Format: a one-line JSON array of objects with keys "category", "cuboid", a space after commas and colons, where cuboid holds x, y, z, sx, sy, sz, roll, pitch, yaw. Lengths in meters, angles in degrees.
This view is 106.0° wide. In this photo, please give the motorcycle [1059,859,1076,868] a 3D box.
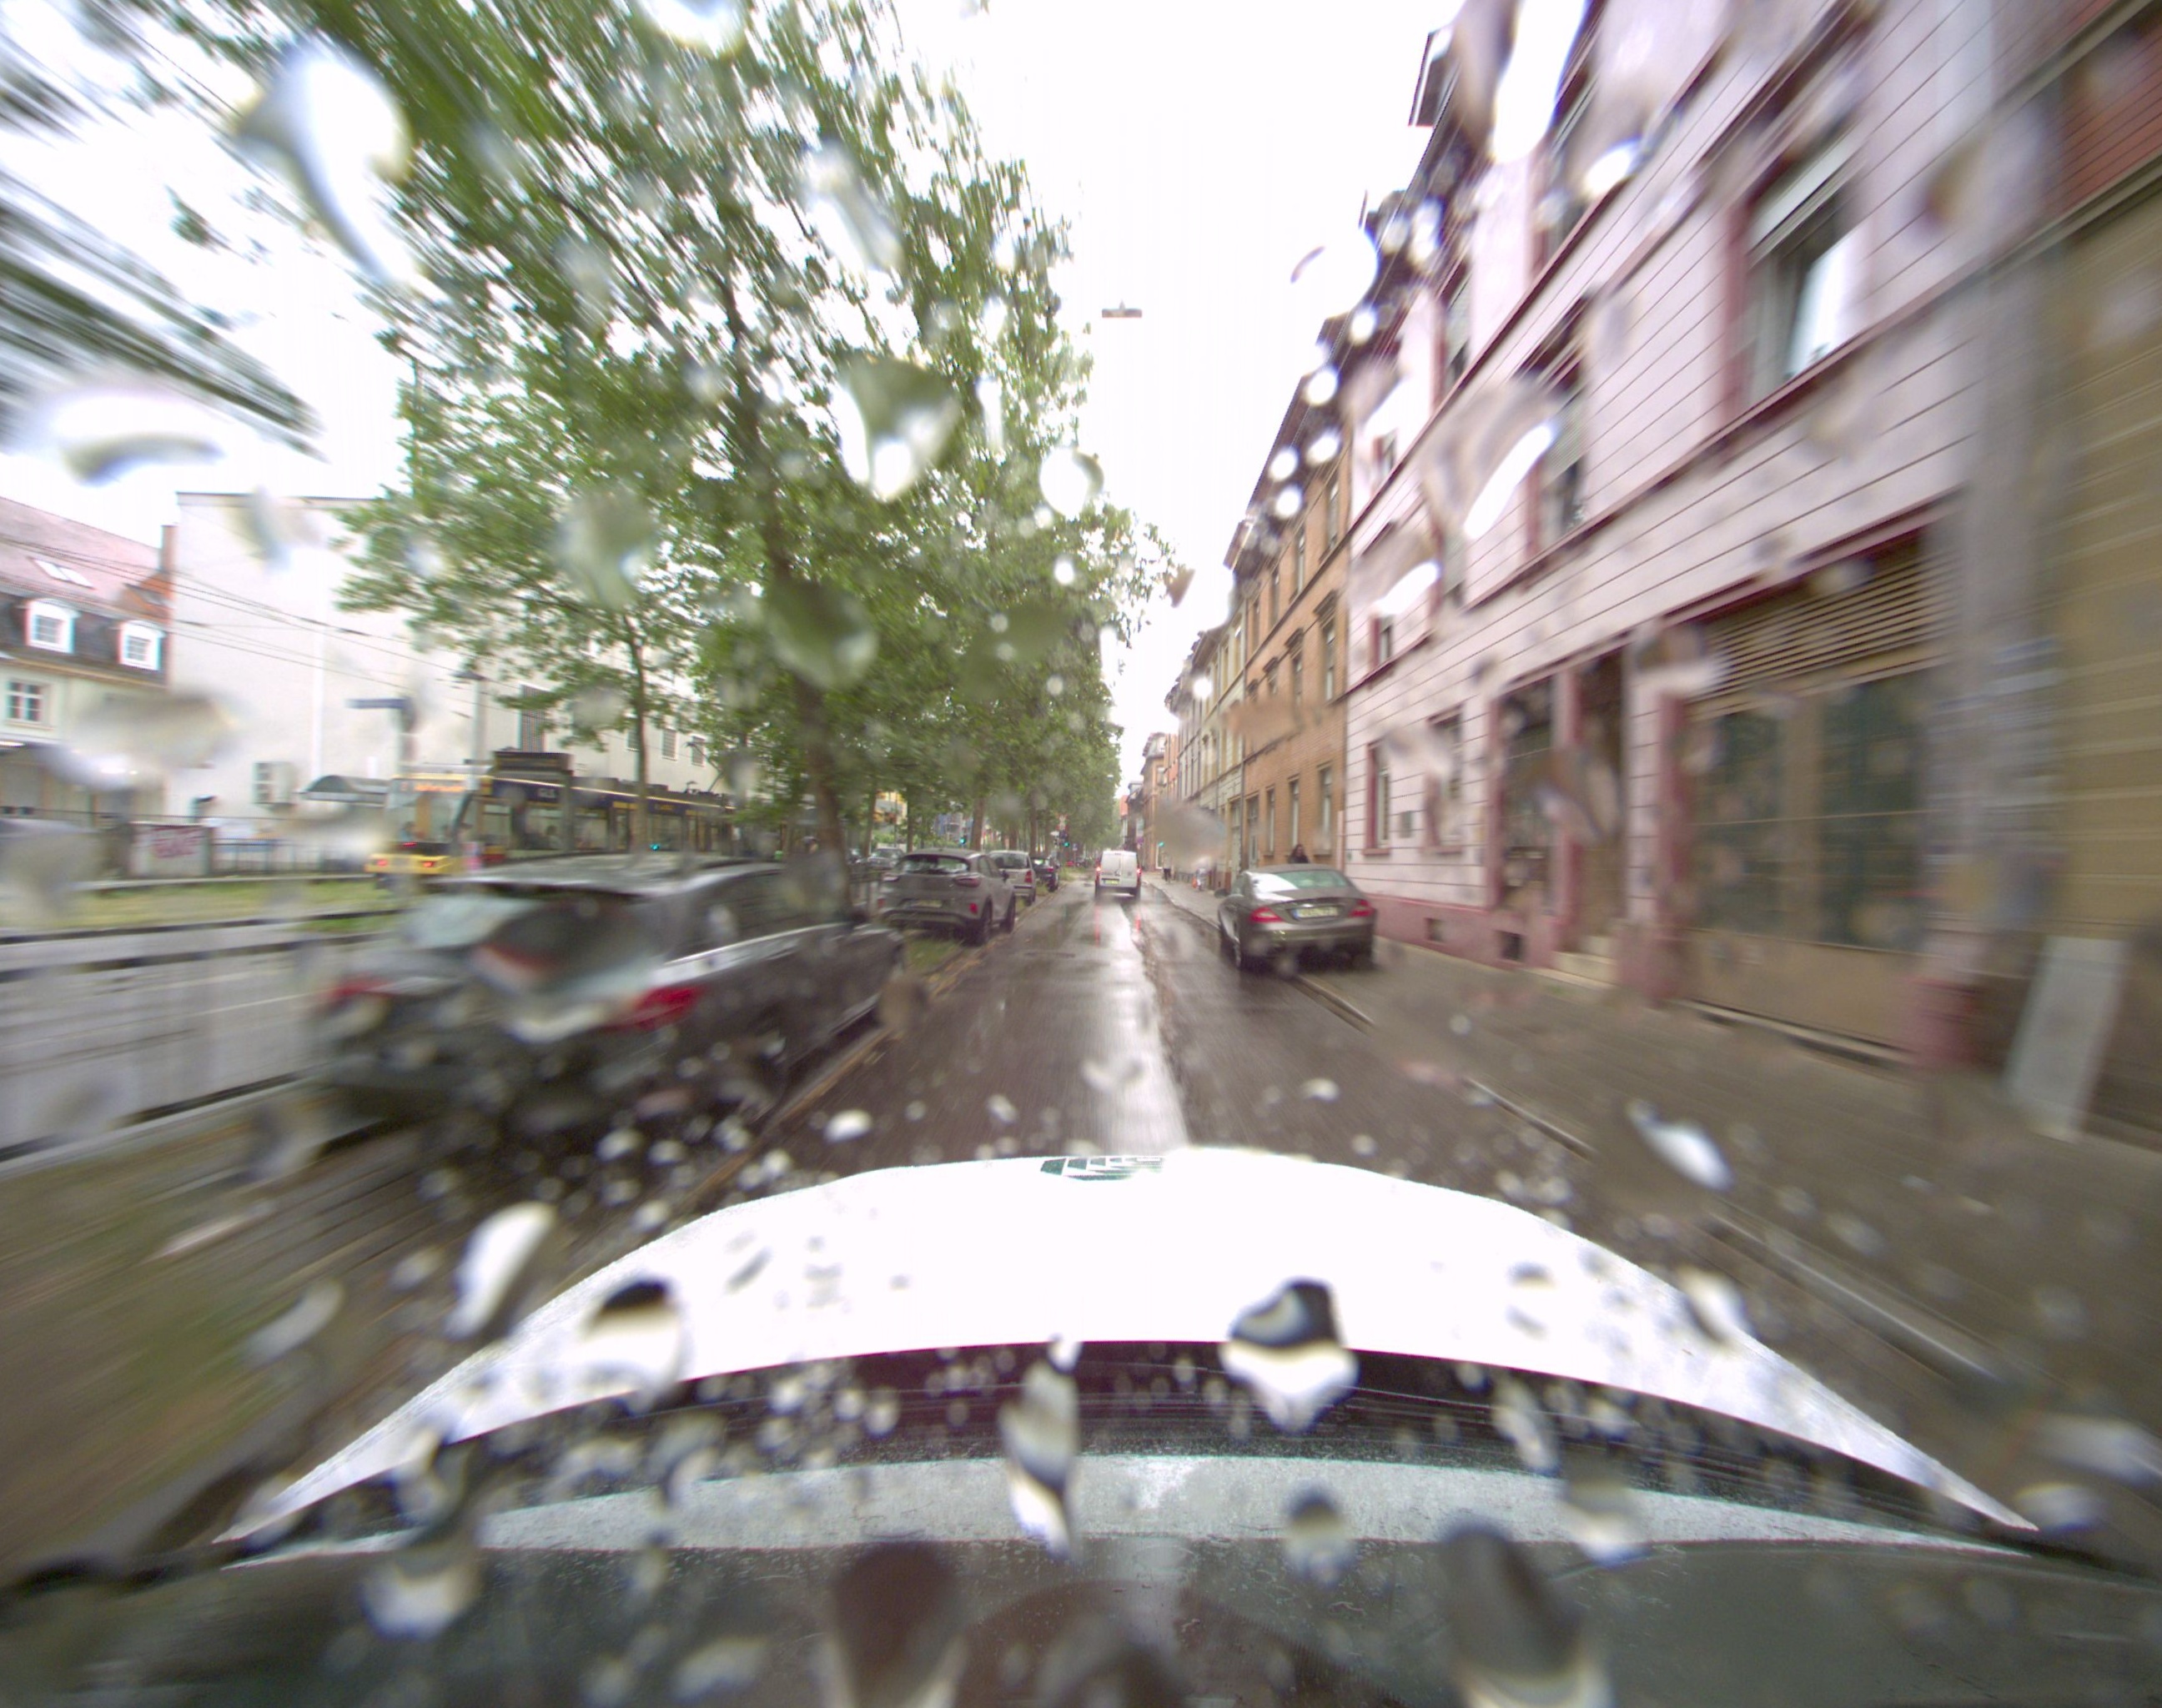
[{"category": "motorcycle", "cuboid": [-1.466, 0.974, 85.866, 1.697, 0.865, 0.578, 2, 0, 6]}]

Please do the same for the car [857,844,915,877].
[{"category": "car", "cuboid": [-10.159, 0.317, 42.783, 1.987, 1.613, 4.000, 2, 0, 1]}]

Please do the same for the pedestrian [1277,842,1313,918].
[{"category": "pedestrian", "cuboid": [4.894, 0.588, 18.668, 0.636, 1.685, 0.603, -2, -1, 0]}]

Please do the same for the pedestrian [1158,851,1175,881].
[{"category": "pedestrian", "cuboid": [5.028, 0.710, 47.907, 0.837, 1.716, 1.108, -2, 0, 2]}]

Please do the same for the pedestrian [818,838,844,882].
[{"category": "pedestrian", "cuboid": [-11.615, 0.284, 37.818, 0.865, 2.013, 0.821, 2, 0, 4]}]

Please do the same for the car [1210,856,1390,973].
[{"category": "car", "cuboid": [3.126, 0.780, 12.608, 1.805, 1.421, 4.702, -2, -1, 4]}]

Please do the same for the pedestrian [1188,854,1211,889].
[{"category": "pedestrian", "cuboid": [5.264, 0.761, 36.273, 0.837, 1.512, 1.108, -2, 0, 2]}]

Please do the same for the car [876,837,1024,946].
[{"category": "car", "cuboid": [-2.161, 0.593, 14.650, 1.691, 1.635, 4.358, 1, 0, 3]}]

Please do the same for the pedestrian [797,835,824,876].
[{"category": "pedestrian", "cuboid": [-11.701, 0.059, 35.214, 0.815, 1.703, 0.872, 2, 0, 0]}]

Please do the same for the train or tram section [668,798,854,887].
[{"category": "train or tram section", "cuboid": [-14.964, -0.257, 40.175, 3.095, 3.559, 14.674, 1, -2, 1]}]

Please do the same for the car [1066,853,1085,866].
[{"category": "car", "cuboid": [-0.610, 0.597, 94.673, 1.985, 1.387, 4.003, 2, 0, 2]}]

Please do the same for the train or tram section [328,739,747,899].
[{"category": "train or tram section", "cuboid": [-15.156, -0.587, 25.541, 3.095, 3.559, 14.576, 1, -2, 1]}]

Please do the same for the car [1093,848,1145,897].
[{"category": "car", "cuboid": [1.471, 0.740, 32.239, 1.896, 1.797, 4.114, 1, -2, 2]}]

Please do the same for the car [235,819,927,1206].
[{"category": "car", "cuboid": [-2.483, 0.669, 5.648, 1.822, 1.503, 4.613, 3, -1, 1]}]

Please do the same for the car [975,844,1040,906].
[{"category": "car", "cuboid": [-2.142, 0.578, 24.578, 1.619, 1.681, 3.657, 2, 0, -1]}]

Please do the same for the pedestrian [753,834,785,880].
[{"category": "pedestrian", "cuboid": [-11.811, 0.110, 30.858, 0.815, 1.704, 0.872, 2, 0, 0]}]

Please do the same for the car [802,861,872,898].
[{"category": "car", "cuboid": [-10.302, 1.050, 34.638, 1.733, 1.343, 3.756, 4, 0, 1]}]

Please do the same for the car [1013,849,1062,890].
[{"category": "car", "cuboid": [-1.750, 0.623, 33.863, 1.643, 1.500, 4.120, 3, 0, 1]}]

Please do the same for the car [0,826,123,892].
[{"category": "car", "cuboid": [-27.165, 0.089, 20.806, 3.658, 1.541, 1.613, 2, 0, 5]}]
